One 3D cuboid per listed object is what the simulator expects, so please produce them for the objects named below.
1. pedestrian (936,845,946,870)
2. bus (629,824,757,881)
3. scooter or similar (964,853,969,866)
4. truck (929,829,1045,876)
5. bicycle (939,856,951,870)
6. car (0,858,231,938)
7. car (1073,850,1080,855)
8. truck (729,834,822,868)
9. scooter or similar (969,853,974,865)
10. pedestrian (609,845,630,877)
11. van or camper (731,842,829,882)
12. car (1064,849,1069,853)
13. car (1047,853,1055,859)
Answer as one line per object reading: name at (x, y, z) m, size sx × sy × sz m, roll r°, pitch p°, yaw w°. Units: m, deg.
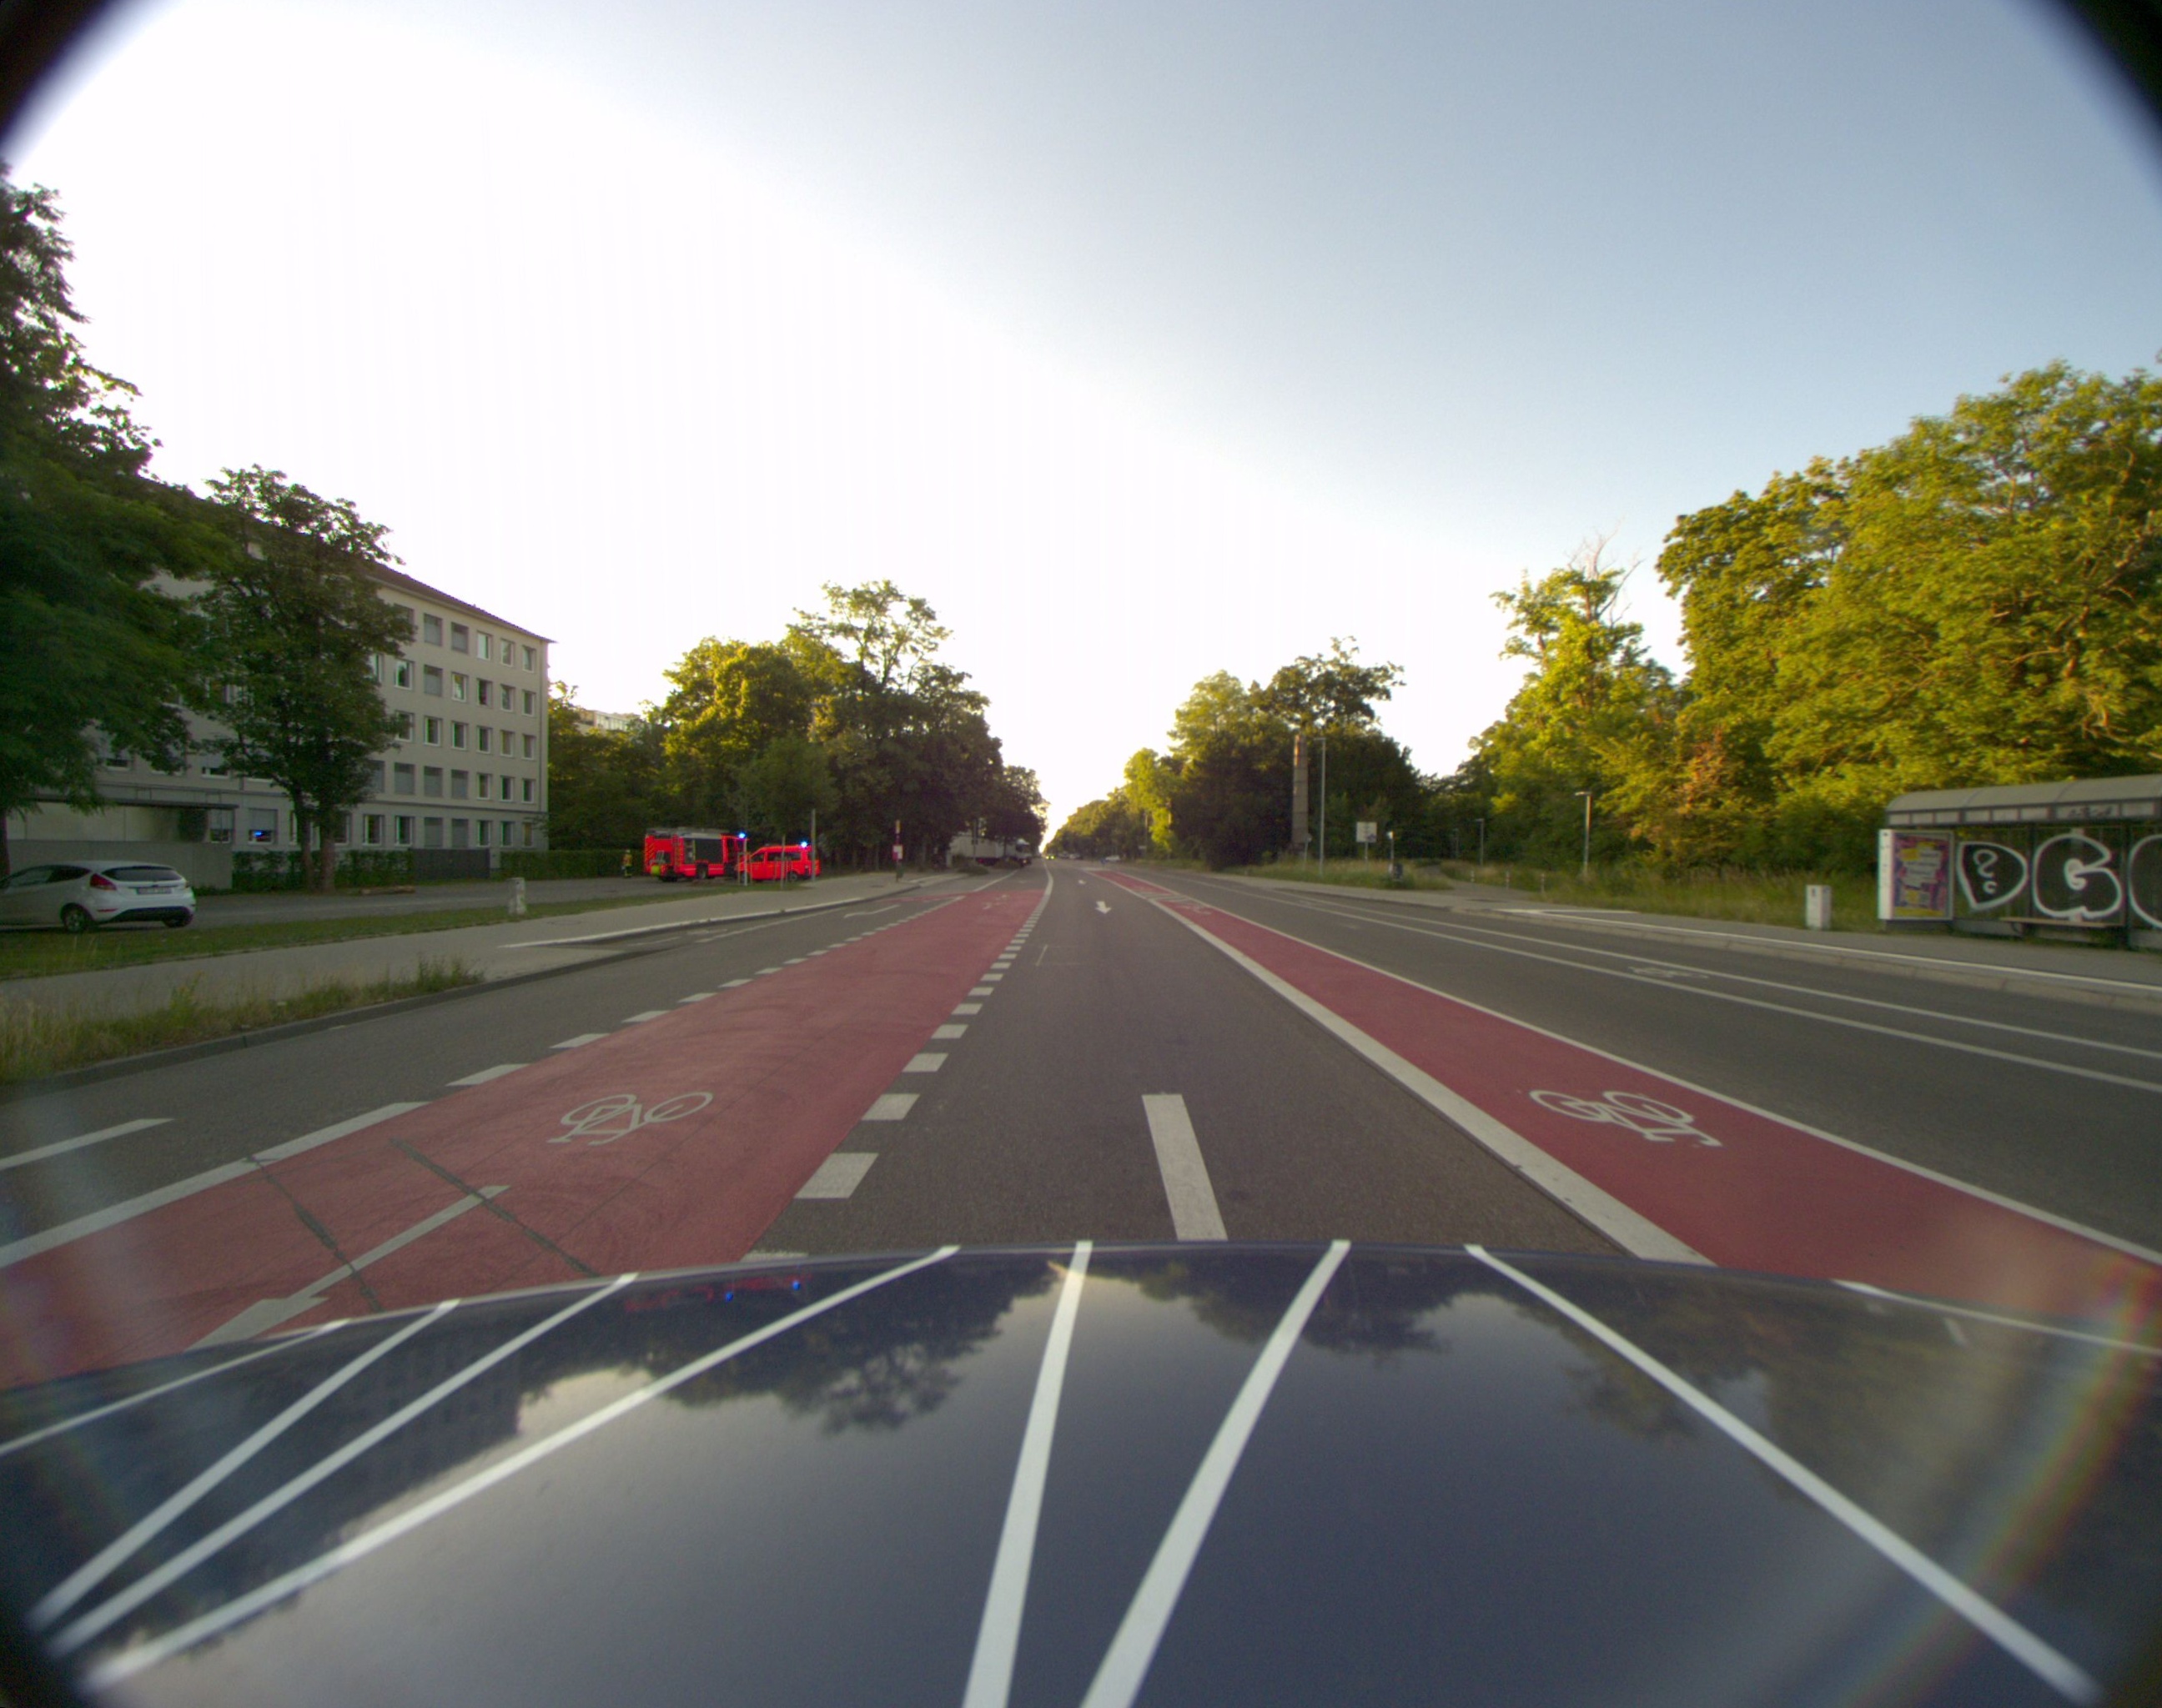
pedestrian at (-11.389, 0.282, 61.728) m, size 0.726 × 2.002 × 0.694 m, roll 0°, pitch 1°, yaw -15°
bus at (-23.775, -0.120, 47.156) m, size 2.993 × 3.177 × 7.968 m, roll -1°, pitch 1°, yaw 8°
scooter or similar at (-12.227, 0.580, 81.371) m, size 0.483 × 1.274 × 1.230 m, roll 2°, pitch 0°, yaw -8°
truck at (-11.981, -0.256, 95.593) m, size 15.039 × 5.542 × 5.170 m, roll 0°, pitch 1°, yaw 36°
bicycle at (-11.127, 0.757, 62.035) m, size 0.833 × 1.091 × 1.966 m, roll 1°, pitch 0°, yaw -13°
car at (-20.946, 0.888, 16.035) m, size 3.996 × 1.528 × 1.912 m, roll -1°, pitch 1°, yaw 4°
car at (-1.258, -0.310, 219.157) m, size 1.851 × 1.406 × 4.180 m, roll 0°, pitch 0°, yaw 1°
truck at (-29.824, -0.268, 74.154) m, size 8.645 × 3.192 × 2.765 m, roll 0°, pitch 0°, yaw 17°
scooter or similar at (-11.957, 0.580, 83.154) m, size 0.483 × 1.274 × 1.139 m, roll 2°, pitch 0°, yaw -8°
pedestrian at (-29.979, 0.451, 49.366) m, size 0.772 × 2.002 × 0.826 m, roll 0°, pitch 1°, yaw 9°
van or camper at (-17.691, 0.469, 44.850) m, size 4.822 × 2.232 × 2.296 m, roll -1°, pitch 1°, yaw 7°
car at (-4.629, -0.889, 241.913) m, size 1.754 × 1.299 × 3.999 m, roll 1°, pitch 0°, yaw -2°
car at (-8.246, 0.442, 210.289) m, size 1.999 × 1.608 × 3.999 m, roll 0°, pitch 0°, yaw -1°
